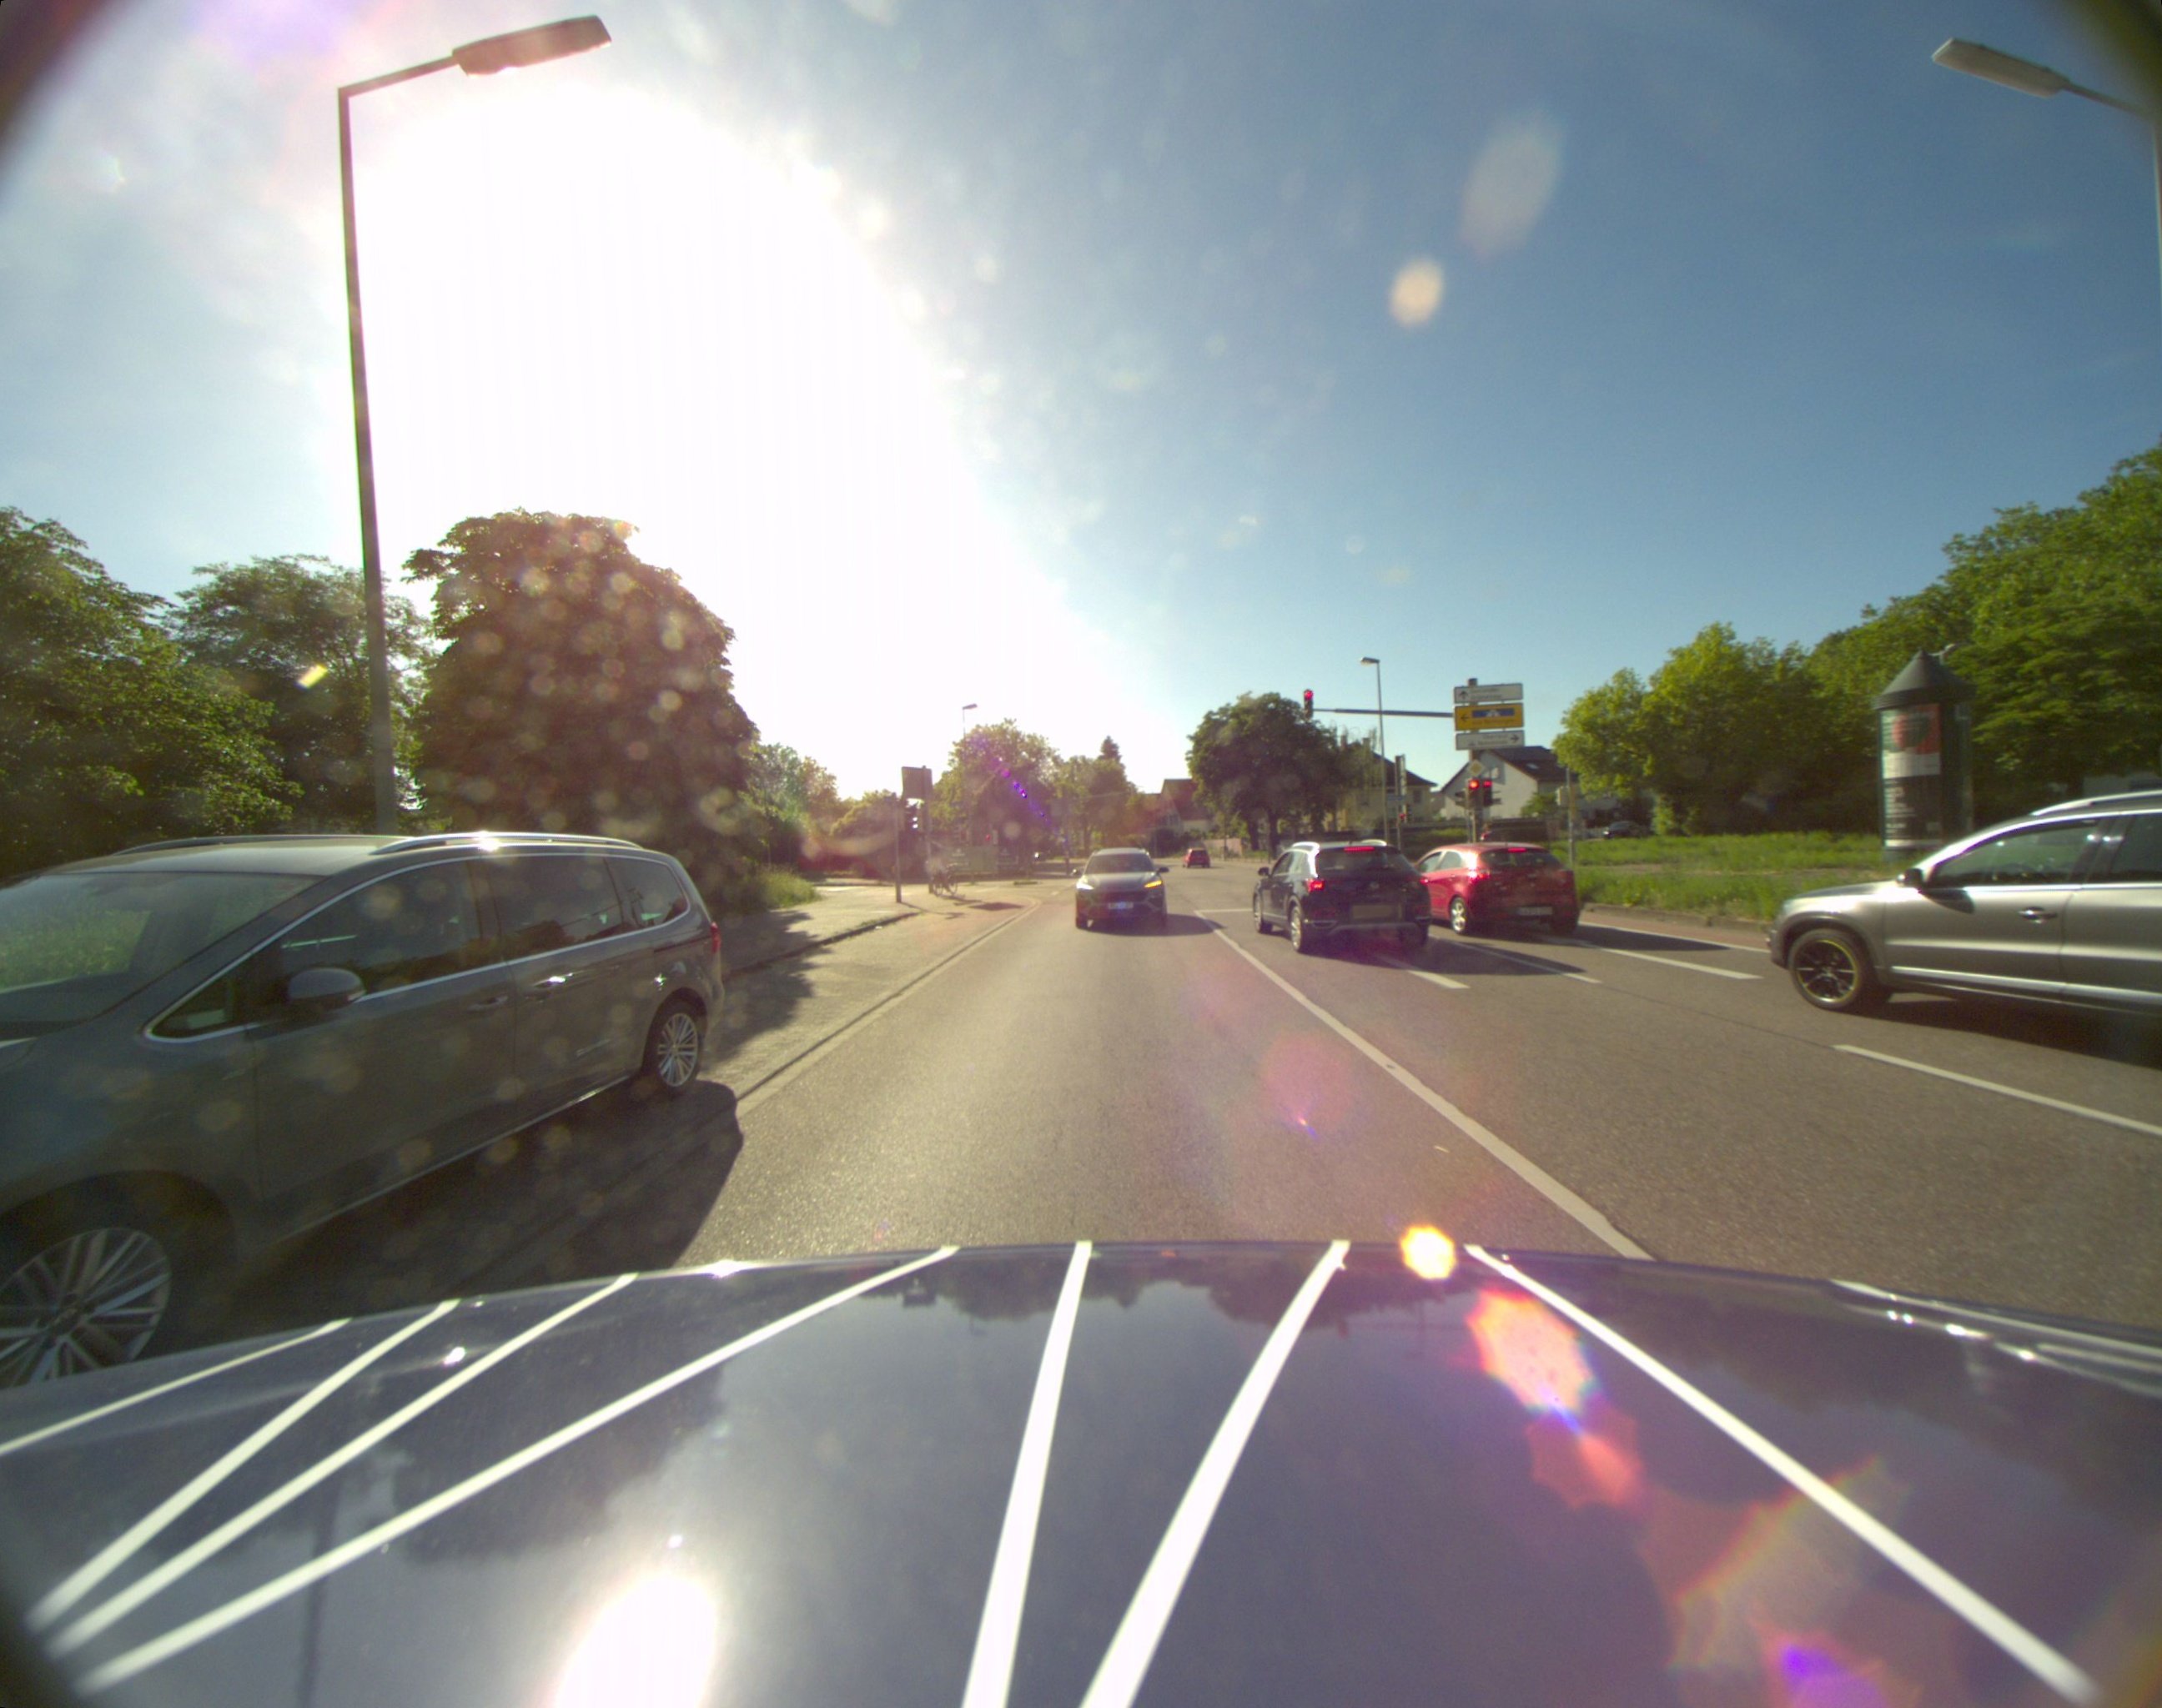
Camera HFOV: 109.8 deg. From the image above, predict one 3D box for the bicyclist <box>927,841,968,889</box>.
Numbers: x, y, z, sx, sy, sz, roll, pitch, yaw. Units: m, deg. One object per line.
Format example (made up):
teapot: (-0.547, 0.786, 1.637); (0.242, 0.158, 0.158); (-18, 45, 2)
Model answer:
bicyclist: (-4.832, 0.392, 27.606); (0.890, 1.683, 1.192); (-3, 0, 23)

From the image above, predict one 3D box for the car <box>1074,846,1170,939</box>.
car: (0.833, 0.707, 16.371); (1.715, 1.636, 4.055); (-4, 1, 2)

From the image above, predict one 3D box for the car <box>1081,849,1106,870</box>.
car: (0.999, 0.386, 61.573); (1.809, 1.523, 4.514); (-3, 1, -1)

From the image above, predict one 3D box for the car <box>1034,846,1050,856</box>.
car: (-6.854, -0.594, 132.631); (1.863, 1.625, 4.251); (-2, 0, -15)

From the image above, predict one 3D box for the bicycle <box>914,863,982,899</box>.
bicycle: (-4.791, 0.941, 27.606); (0.901, 1.119, 2.957); (-3, 0, 23)

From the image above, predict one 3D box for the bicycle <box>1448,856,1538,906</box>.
bicycle: (9.328, 0.582, 17.325); (0.939, 1.011, 2.197); (-3, 0, 3)

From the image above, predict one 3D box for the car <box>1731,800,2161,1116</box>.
car: (6.786, 0.528, 4.667); (1.857, 1.725, 4.270); (-3, 0, 0)

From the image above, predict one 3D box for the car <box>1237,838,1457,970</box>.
car: (3.805, 0.632, 11.677); (1.918, 1.590, 4.000); (-3, 0, 0)

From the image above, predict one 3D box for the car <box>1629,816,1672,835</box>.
car: (54.520, -2.733, 72.740); (4.006, 1.656, 1.959); (-3, 1, -33)

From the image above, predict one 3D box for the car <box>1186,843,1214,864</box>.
car: (8.854, -0.076, 56.930); (1.861, 1.461, 4.140); (-3, 1, 7)

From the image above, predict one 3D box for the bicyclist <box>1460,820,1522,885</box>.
bicyclist: (9.290, -0.030, 17.255); (0.935, 1.393, 0.823); (-3, 0, 3)

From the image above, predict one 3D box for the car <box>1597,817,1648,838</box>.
car: (45.349, -2.212, 63.630); (4.006, 1.547, 1.996); (-3, 0, -32)

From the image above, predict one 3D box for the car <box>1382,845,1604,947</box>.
car: (6.763, 0.590, 13.010); (1.788, 1.406, 3.890); (-2, 1, 2)

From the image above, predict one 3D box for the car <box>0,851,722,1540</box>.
car: (-3.642, 0.874, 3.239); (1.877, 1.712, 4.612); (-1, 1, 2)
